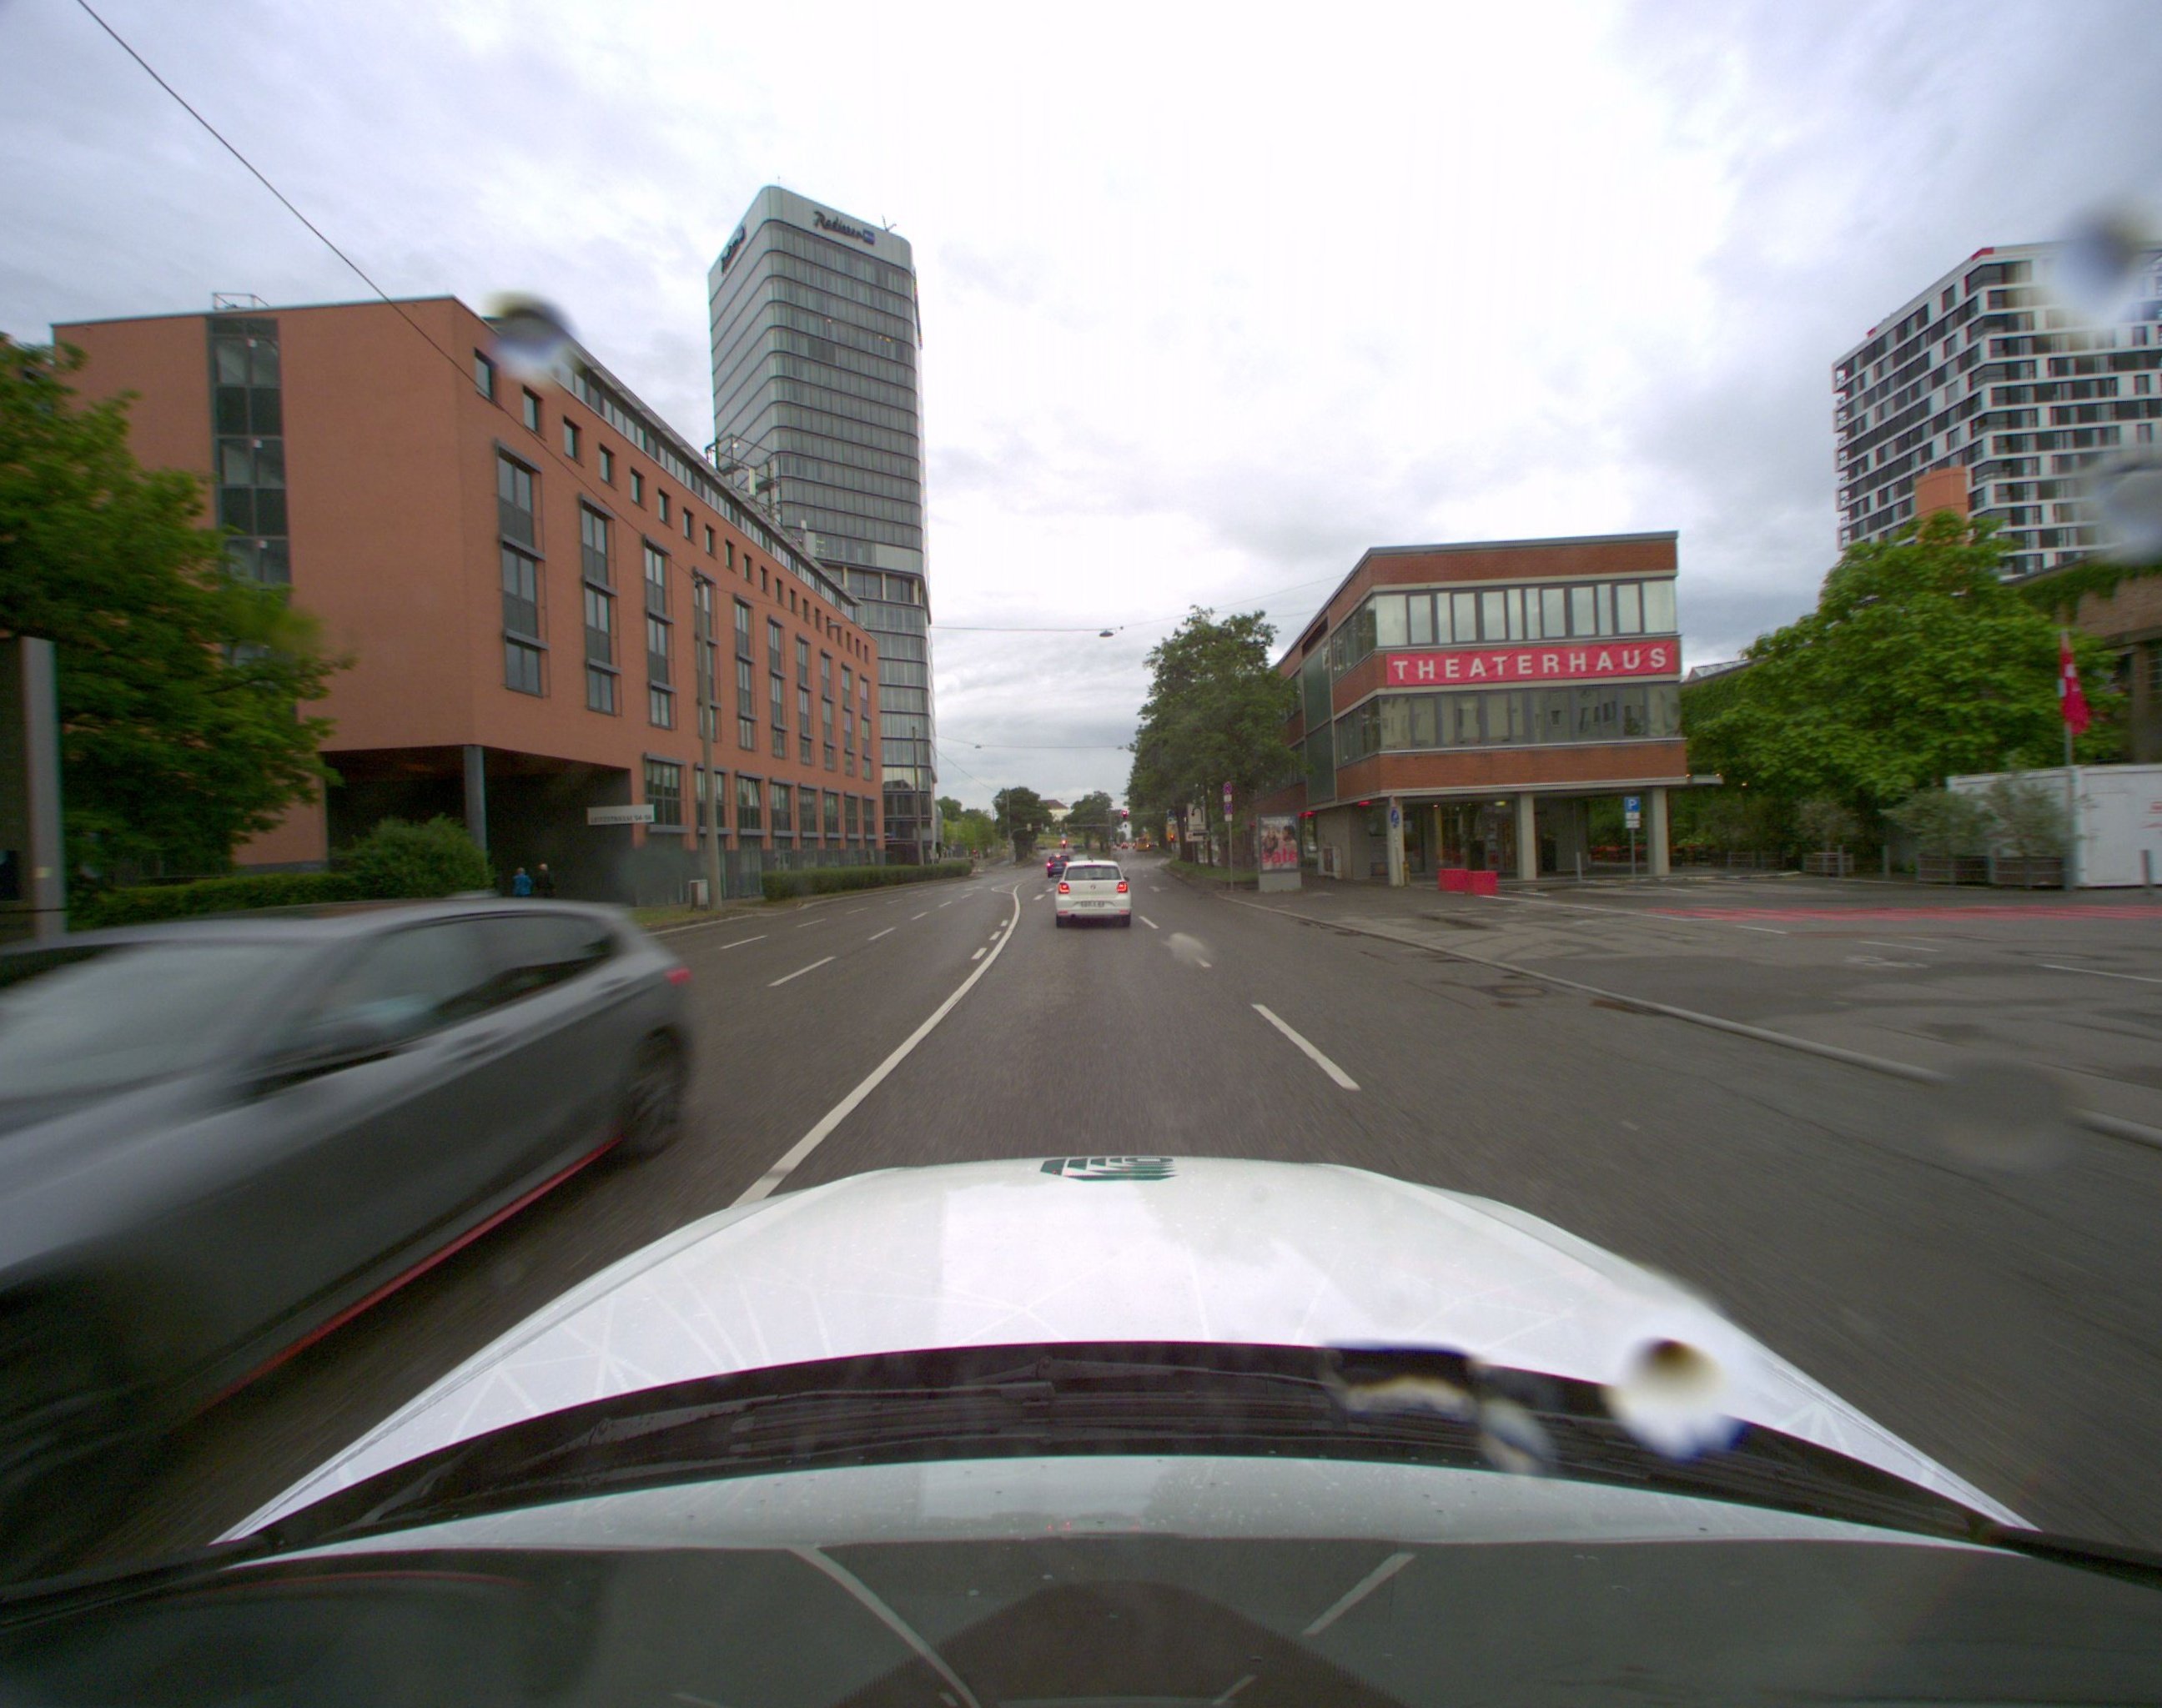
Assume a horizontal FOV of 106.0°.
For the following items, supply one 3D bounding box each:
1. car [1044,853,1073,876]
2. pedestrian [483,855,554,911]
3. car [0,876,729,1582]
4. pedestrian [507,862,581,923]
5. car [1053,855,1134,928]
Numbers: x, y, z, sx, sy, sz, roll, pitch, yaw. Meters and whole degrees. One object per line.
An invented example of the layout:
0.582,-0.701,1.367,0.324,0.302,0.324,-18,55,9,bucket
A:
-1.642,0.743,60.858,1.987,1.574,3.999,-3,0,0,car
-18.363,0.934,26.617,1.201,1.679,1.421,-5,-2,3,pedestrian
-3.085,0.854,3.073,1.707,1.365,3.999,-3,0,0,car
-17.454,1.252,26.509,1.310,1.823,1.440,-5,-2,3,pedestrian
0.247,0.790,19.034,1.666,1.474,3.778,-2,0,-1,car
